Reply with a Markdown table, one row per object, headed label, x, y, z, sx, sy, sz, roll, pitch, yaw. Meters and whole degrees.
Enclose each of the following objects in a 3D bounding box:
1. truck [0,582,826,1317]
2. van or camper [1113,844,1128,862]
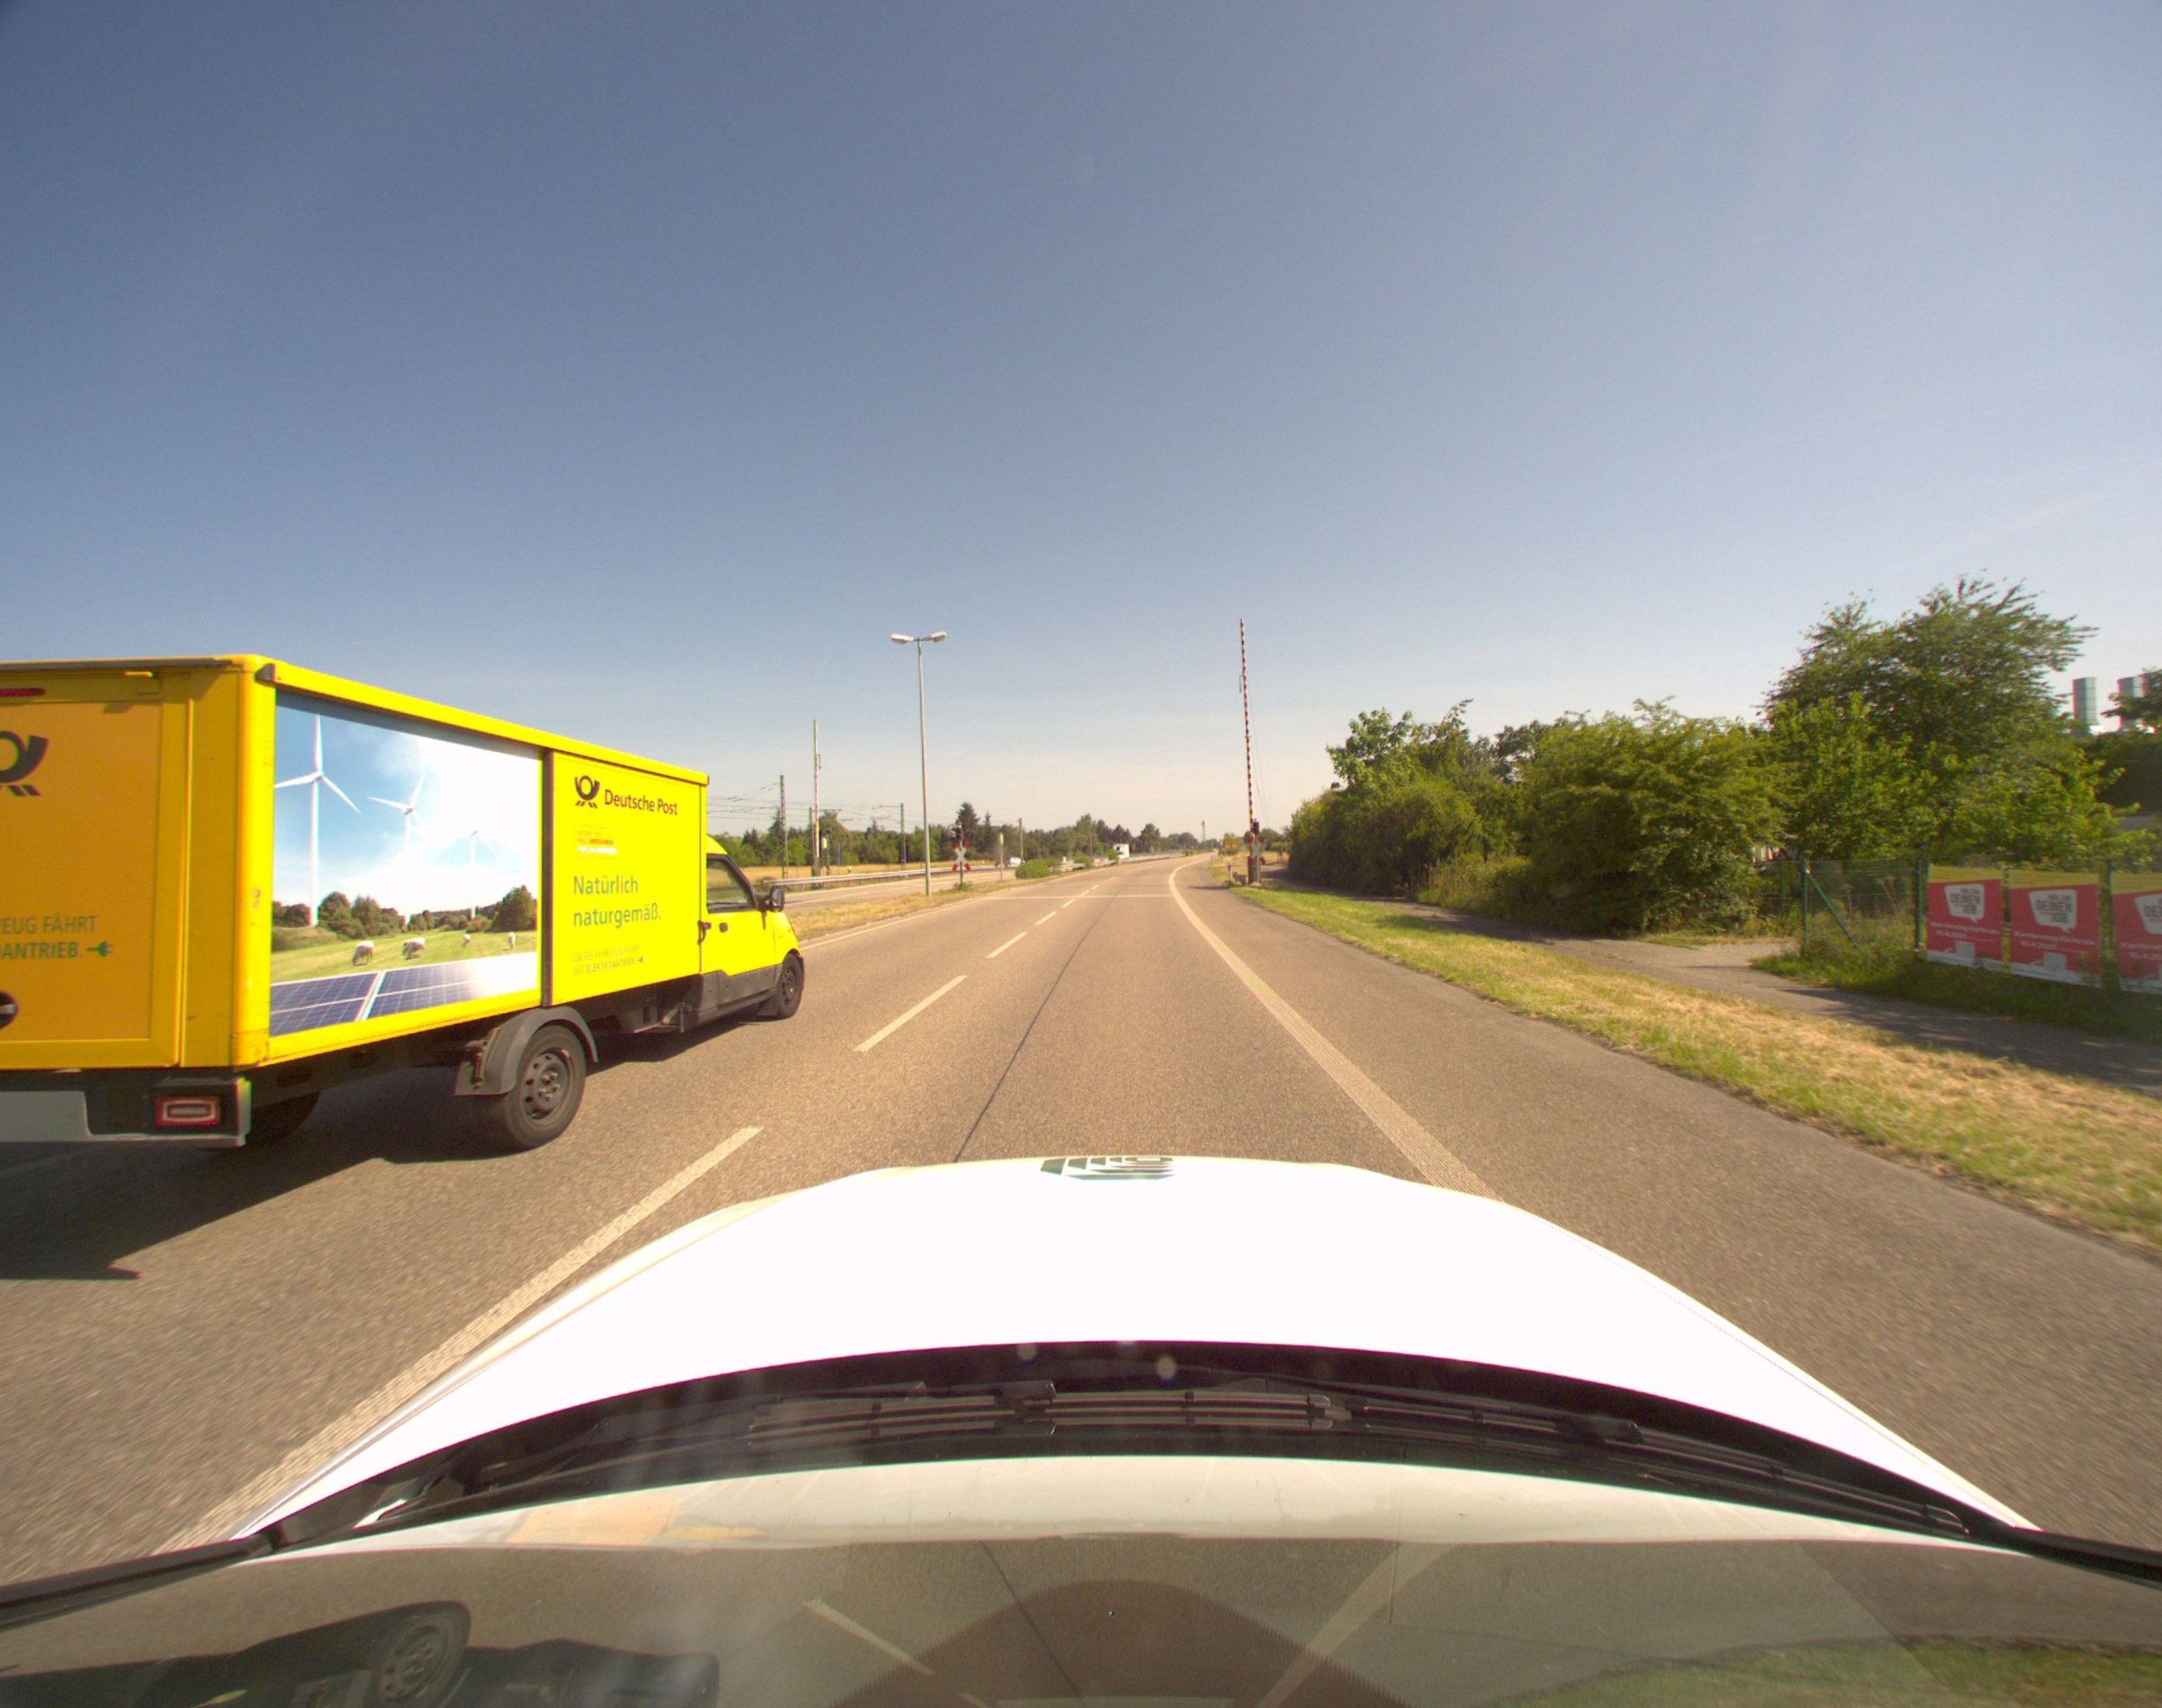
| label | x | y | z | sx | sy | sz | roll | pitch | yaw |
| --- | --- | --- | --- | --- | --- | --- | --- | --- | --- |
| truck | -3.832 | 0.328 | 5.695 | 2.104 | 2.457 | 5.918 | -1 | 0 | 1 |
| van or camper | 8.411 | -0.204 | 173.720 | 2.863 | 3.680 | 8.653 | -2 | 0 | 4 |
